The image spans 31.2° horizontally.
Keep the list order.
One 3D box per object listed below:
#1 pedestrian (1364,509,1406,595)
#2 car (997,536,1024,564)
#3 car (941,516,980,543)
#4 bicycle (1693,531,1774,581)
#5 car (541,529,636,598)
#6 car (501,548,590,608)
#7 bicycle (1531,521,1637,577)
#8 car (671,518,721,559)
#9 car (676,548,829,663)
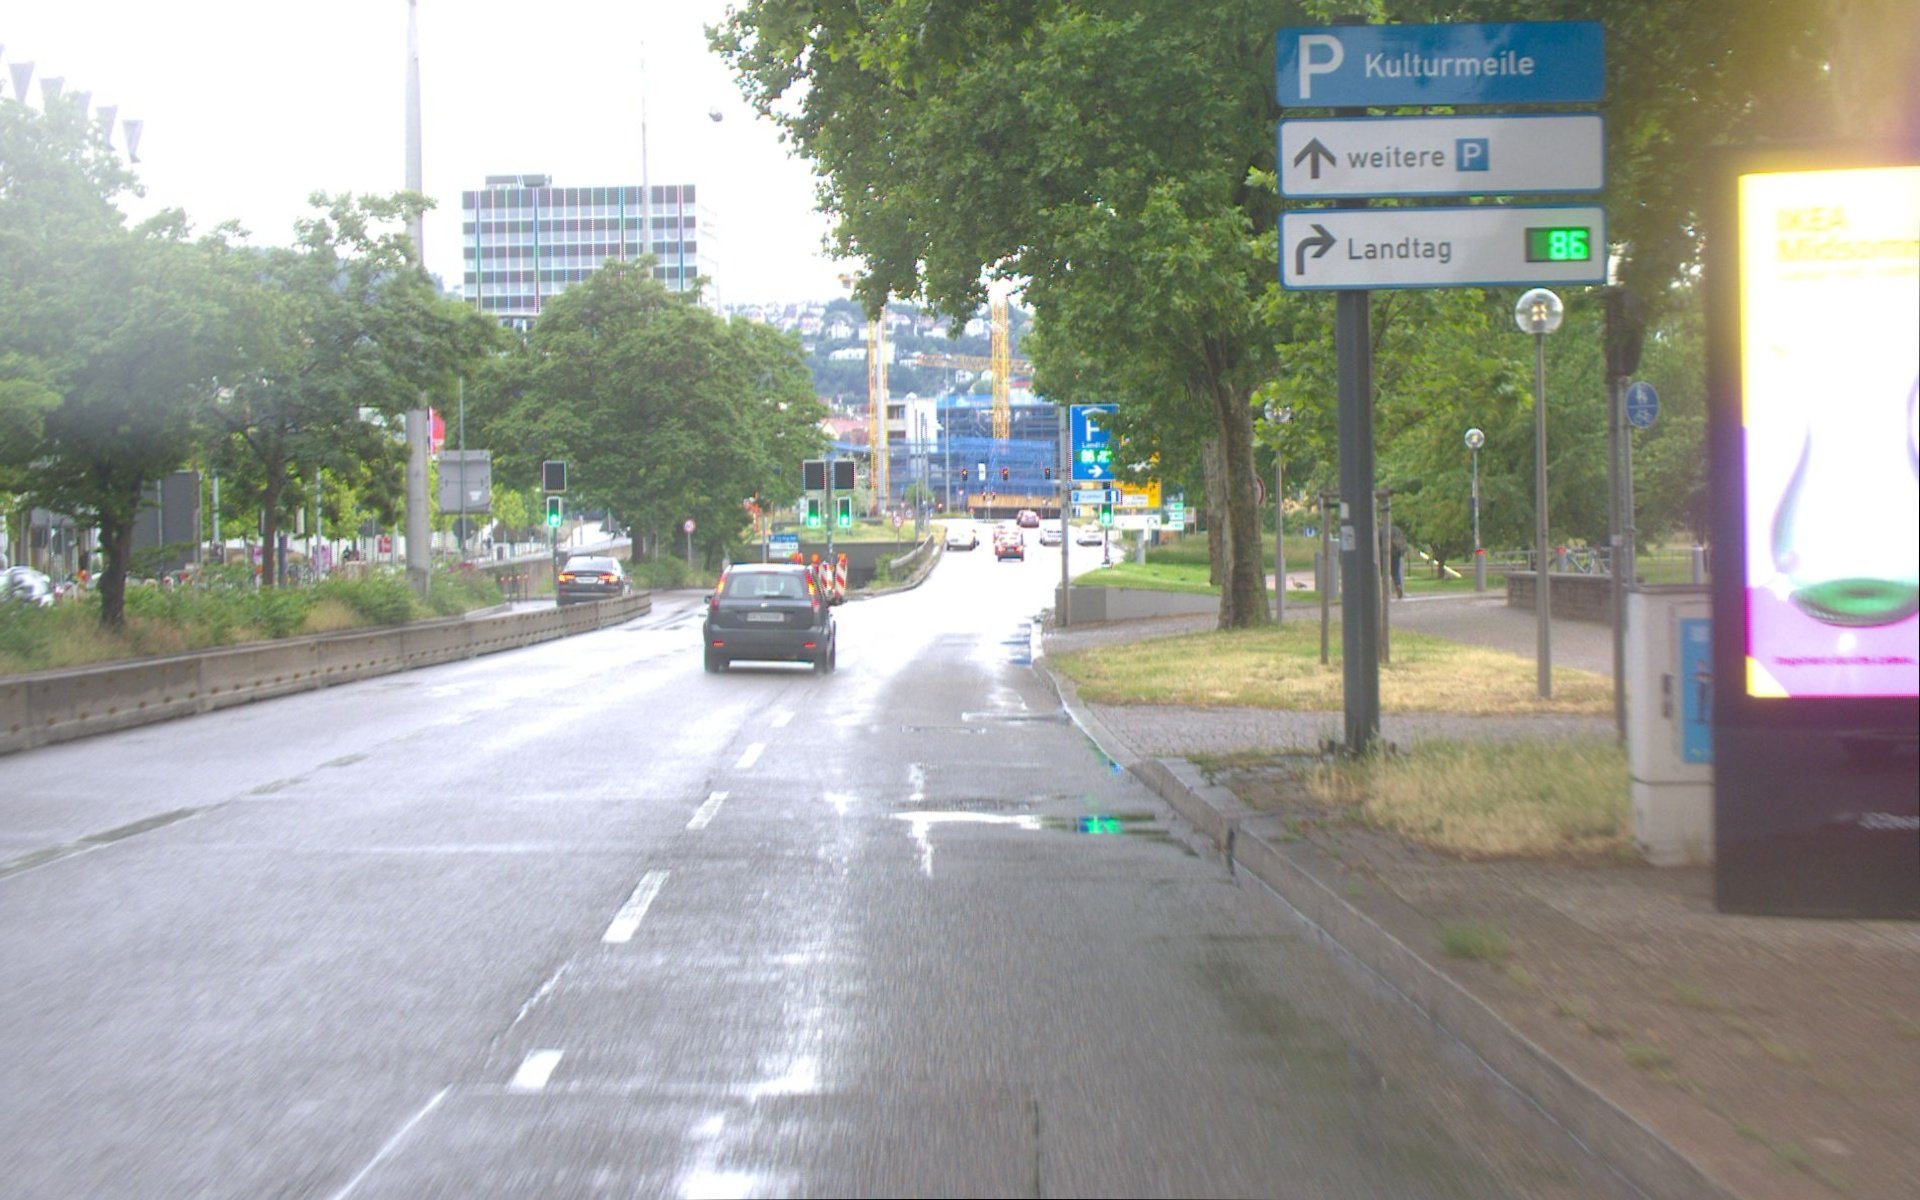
[{"bbox_3d":[8.601,-0.969,69.649,0.705,1.712,0.692,-2,1,1],"label":"pedestrian"},{"bbox_3d":[3.391,-3.352,229.477,1.739,1.765,4.000,-2,0,1],"label":"car"},{"bbox_3d":[0.025,-5.370,261.982,2.221,2.007,3.998,0,1,11],"label":"car"},{"bbox_3d":[17.503,-1.001,77.825,1.641,1.082,0.709,-1,2,-4],"label":"bicycle"},{"bbox_3d":[-10.020,-1.014,93.046,1.993,1.775,4.000,-1,1,2],"label":"car"},{"bbox_3d":[-10.355,-0.567,86.153,1.754,1.446,4.000,-1,1,0],"label":"car"},{"bbox_3d":[13.482,-1.103,74.291,2.034,1.169,0.960,-1,2,-9],"label":"bicycle"},{"bbox_3d":[-10.736,-2.500,140.163,1.993,1.626,4.001,-1,1,-4],"label":"car"},{"bbox_3d":[-2.820,0.071,46.120,1.843,1.411,3.840,-2,0,-6],"label":"car"}]
